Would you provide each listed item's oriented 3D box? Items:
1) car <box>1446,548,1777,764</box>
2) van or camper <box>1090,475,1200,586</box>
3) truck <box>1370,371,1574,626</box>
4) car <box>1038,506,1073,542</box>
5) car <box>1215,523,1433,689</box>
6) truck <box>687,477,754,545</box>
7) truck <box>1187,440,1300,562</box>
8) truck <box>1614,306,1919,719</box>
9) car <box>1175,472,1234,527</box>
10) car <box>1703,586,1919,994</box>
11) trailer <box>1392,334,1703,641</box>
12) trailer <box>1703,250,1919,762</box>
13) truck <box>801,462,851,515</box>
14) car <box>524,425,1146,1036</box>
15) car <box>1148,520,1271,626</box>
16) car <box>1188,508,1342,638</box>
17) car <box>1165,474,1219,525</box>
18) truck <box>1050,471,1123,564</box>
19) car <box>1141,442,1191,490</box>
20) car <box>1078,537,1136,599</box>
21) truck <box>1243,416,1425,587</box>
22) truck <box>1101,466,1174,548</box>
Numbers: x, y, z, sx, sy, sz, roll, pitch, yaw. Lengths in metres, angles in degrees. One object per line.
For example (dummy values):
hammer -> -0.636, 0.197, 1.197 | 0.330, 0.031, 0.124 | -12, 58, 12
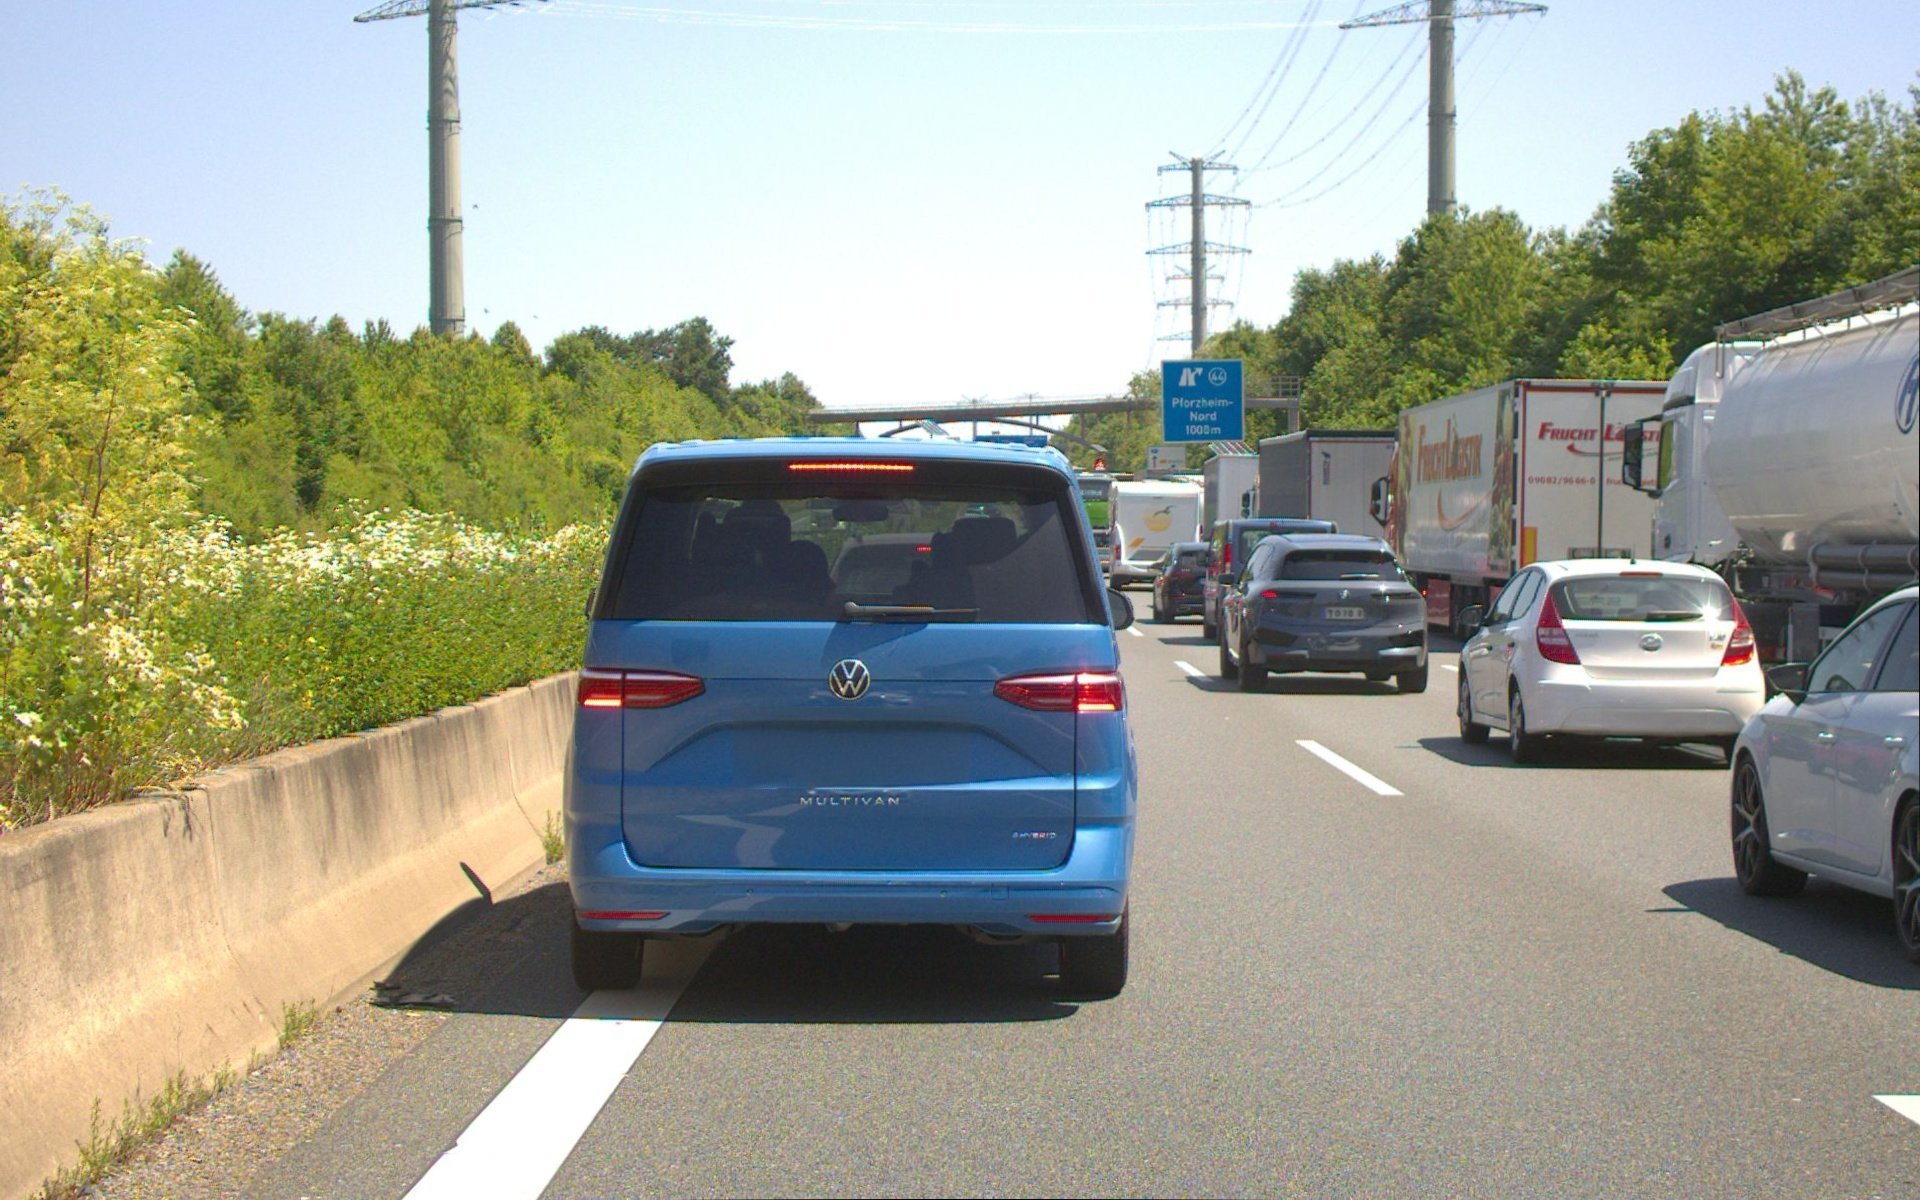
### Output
car -> 4.817, 0.391, 25.931 | 1.817, 1.480, 4.000 | -1, 0, 2
van or camper -> 5.203, -1.934, 97.864 | 2.957, 3.011, 7.102 | 0, 0, 2
truck -> 9.311, -1.817, 62.992 | 2.912, 4.453, 5.143 | -1, 1, 0
car -> 5.728, -4.552, 207.316 | 1.993, 2.118, 4.000 | 0, 0, 0
car -> 3.979, 0.065, 38.271 | 1.999, 1.709, 4.625 | -1, 0, 1
truck -> -13.881, -5.119, 200.269 | 2.911, 3.806, 11.944 | 1, 1, 0
truck -> 9.275, -3.159, 113.840 | 2.895, 3.754, 13.344 | 0, 0, 1
truck -> 8.569, -0.854, 34.746 | 2.793, 3.823, 5.572 | -1, 1, 0
car -> 9.371, -3.842, 131.904 | 1.993, 2.007, 4.000 | 0, 0, 1
car -> 4.271, 0.656, 13.665 | 1.747, 1.438, 4.313 | -1, 0, 1
trailer -> 9.332, -1.714, 56.209 | 2.912, 4.453, 12.154 | -1, 1, 0
trailer -> 8.560, -0.734, 27.324 | 2.761, 3.831, 11.486 | -1, 1, 0
truck -> -9.986, -8.299, 257.325 | 3.172, 3.806, 11.944 | 1, 1, 0
car -> -0.379, 0.374, 12.749 | 1.920, 1.880, 4.000 | 1, 1, 0
car -> 4.750, -0.495, 65.995 | 1.923, 1.919, 4.236 | -2, 0, -1
car -> 4.772, -0.411, 54.277 | 1.923, 1.919, 4.236 | -2, 0, -1
car -> 9.579, -4.146, 141.933 | 1.993, 2.007, 4.000 | 0, 0, 1
truck -> 5.287, -3.422, 145.377 | 2.895, 3.754, 10.140 | 0, 0, 1
car -> 9.115, -5.906, 152.093 | 1.993, 2.007, 4.000 | 0, 0, 1
car -> 4.886, -1.049, 114.357 | 1.836, 1.992, 4.000 | -1, 0, 2
truck -> 8.914, -2.235, 83.776 | 3.006, 3.754, 15.712 | 0, 0, 1
truck -> 10.114, -5.272, 196.834 | 3.566, 4.502, 10.293 | 0, 0, 0
